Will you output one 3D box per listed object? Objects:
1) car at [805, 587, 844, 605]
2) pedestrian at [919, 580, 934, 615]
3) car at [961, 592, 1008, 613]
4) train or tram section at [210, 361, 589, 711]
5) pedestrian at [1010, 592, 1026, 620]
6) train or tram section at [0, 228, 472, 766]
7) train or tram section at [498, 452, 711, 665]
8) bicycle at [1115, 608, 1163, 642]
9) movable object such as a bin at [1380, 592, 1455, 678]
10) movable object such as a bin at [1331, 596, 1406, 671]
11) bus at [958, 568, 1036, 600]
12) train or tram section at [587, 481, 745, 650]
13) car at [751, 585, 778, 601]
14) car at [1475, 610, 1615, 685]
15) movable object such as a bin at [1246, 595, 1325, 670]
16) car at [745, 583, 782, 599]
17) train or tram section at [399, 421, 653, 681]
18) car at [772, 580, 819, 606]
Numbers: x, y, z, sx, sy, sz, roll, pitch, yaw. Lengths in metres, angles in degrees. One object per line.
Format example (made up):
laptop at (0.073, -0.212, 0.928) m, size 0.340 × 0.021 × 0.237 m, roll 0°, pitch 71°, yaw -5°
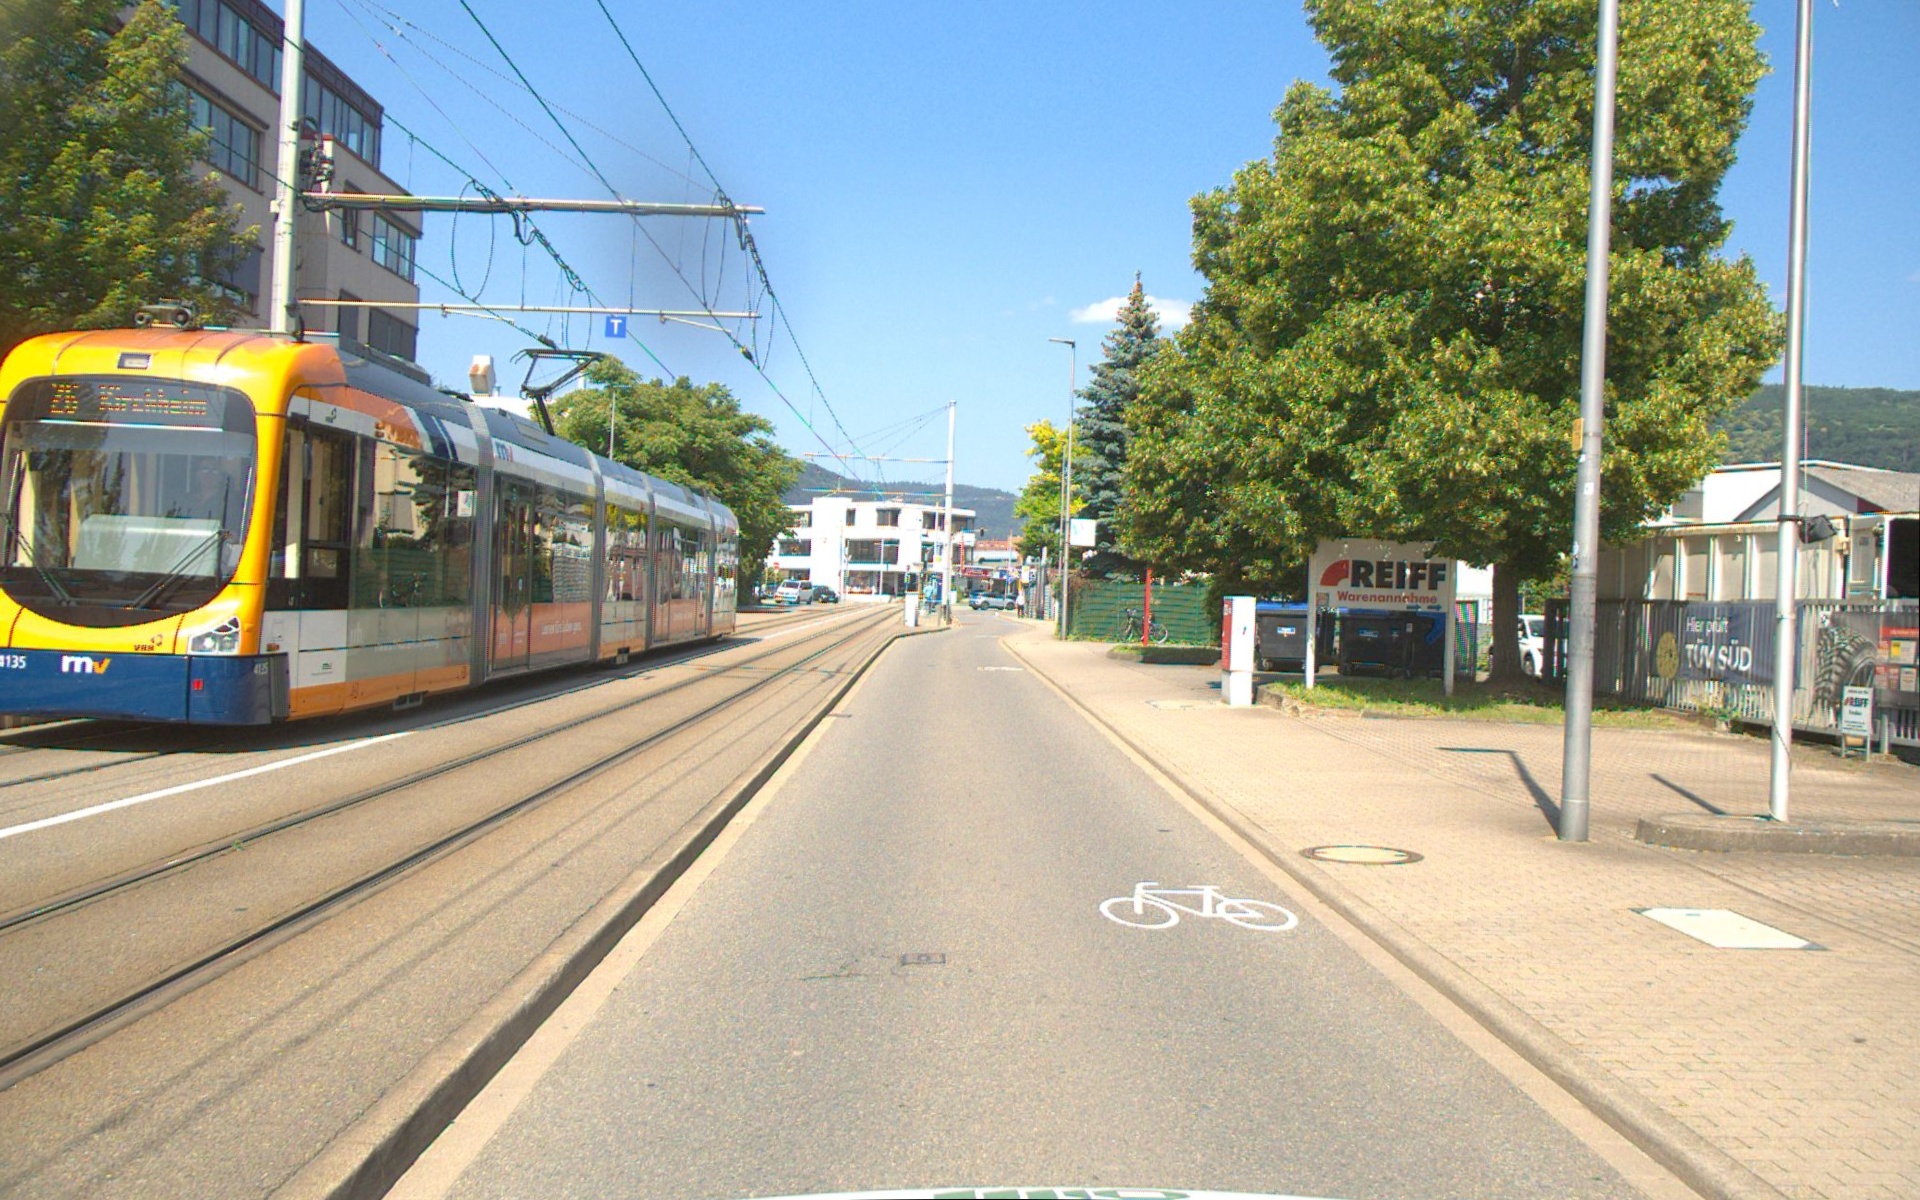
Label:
car at (-12.499, -0.374, 152.524) m, size 3.475 × 1.356 × 1.668 m, roll 5°, pitch 2°, yaw 42°
pedestrian at (-1.750, -0.142, 86.529) m, size 0.728 × 1.771 × 0.727 m, roll 1°, pitch 0°, yaw -1°
car at (2.212, 0.225, 150.151) m, size 3.915 × 1.780 × 1.771 m, roll 2°, pitch 0°, yaw -11°
train or tram section at (-6.394, -0.658, 19.865) m, size 2.558 × 3.507 × 5.842 m, roll 2°, pitch 0°, yaw -1°
pedestrian at (3.862, 0.402, 109.569) m, size 0.921 × 1.818 × 0.953 m, roll 3°, pitch 1°, yaw -2°
train or tram section at (-6.281, -0.719, 14.053) m, size 2.558 × 3.594 × 5.741 m, roll 2°, pitch 0°, yaw -1°
train or tram section at (-6.516, -0.699, 31.393) m, size 2.528 × 3.507 × 7.135 m, roll 2°, pitch 0°, yaw -1°
bicycle at (5.584, 0.789, 51.644) m, size 1.441 × 1.008 × 0.388 m, roll 2°, pitch -3°, yaw -2°
movable object such as a bin at (8.775, 0.671, 31.799) m, size 0.959 × 1.574 × 1.319 m, roll 3°, pitch -2°, yaw -4°
movable object such as a bin at (8.259, 0.679, 33.405) m, size 1.290 × 1.455 × 0.884 m, roll 2°, pitch -2°, yaw 24°
bus at (3.590, -1.594, 163.413) m, size 2.423 × 2.930 × 8.659 m, roll 2°, pitch 0°, yaw -42°
train or tram section at (-6.631, -0.738, 38.158) m, size 2.528 × 3.507 × 6.361 m, roll 2°, pitch 0°, yaw -1°
car at (-22.119, -0.807, 186.983) m, size 1.903 × 1.676 × 3.730 m, roll 1°, pitch 0°, yaw -27°
car at (13.107, 1.023, 37.302) m, size 1.707 × 1.485 × 4.000 m, roll 2°, pitch 0°, yaw 0°
movable object such as a bin at (6.684, 0.673, 33.941) m, size 1.356 × 1.455 × 0.990 m, roll 2°, pitch -2°, yaw 24°
car at (-20.164, -0.906, 169.616) m, size 1.778 × 1.579 × 3.936 m, roll 1°, pitch 0°, yaw -43°
train or tram section at (-6.449, -0.681, 25.312) m, size 2.558 × 3.507 × 5.009 m, roll 2°, pitch 0°, yaw -1°
car at (-13.675, -0.563, 137.788) m, size 1.827 × 1.970 × 3.990 m, roll 4°, pitch 1°, yaw 31°
